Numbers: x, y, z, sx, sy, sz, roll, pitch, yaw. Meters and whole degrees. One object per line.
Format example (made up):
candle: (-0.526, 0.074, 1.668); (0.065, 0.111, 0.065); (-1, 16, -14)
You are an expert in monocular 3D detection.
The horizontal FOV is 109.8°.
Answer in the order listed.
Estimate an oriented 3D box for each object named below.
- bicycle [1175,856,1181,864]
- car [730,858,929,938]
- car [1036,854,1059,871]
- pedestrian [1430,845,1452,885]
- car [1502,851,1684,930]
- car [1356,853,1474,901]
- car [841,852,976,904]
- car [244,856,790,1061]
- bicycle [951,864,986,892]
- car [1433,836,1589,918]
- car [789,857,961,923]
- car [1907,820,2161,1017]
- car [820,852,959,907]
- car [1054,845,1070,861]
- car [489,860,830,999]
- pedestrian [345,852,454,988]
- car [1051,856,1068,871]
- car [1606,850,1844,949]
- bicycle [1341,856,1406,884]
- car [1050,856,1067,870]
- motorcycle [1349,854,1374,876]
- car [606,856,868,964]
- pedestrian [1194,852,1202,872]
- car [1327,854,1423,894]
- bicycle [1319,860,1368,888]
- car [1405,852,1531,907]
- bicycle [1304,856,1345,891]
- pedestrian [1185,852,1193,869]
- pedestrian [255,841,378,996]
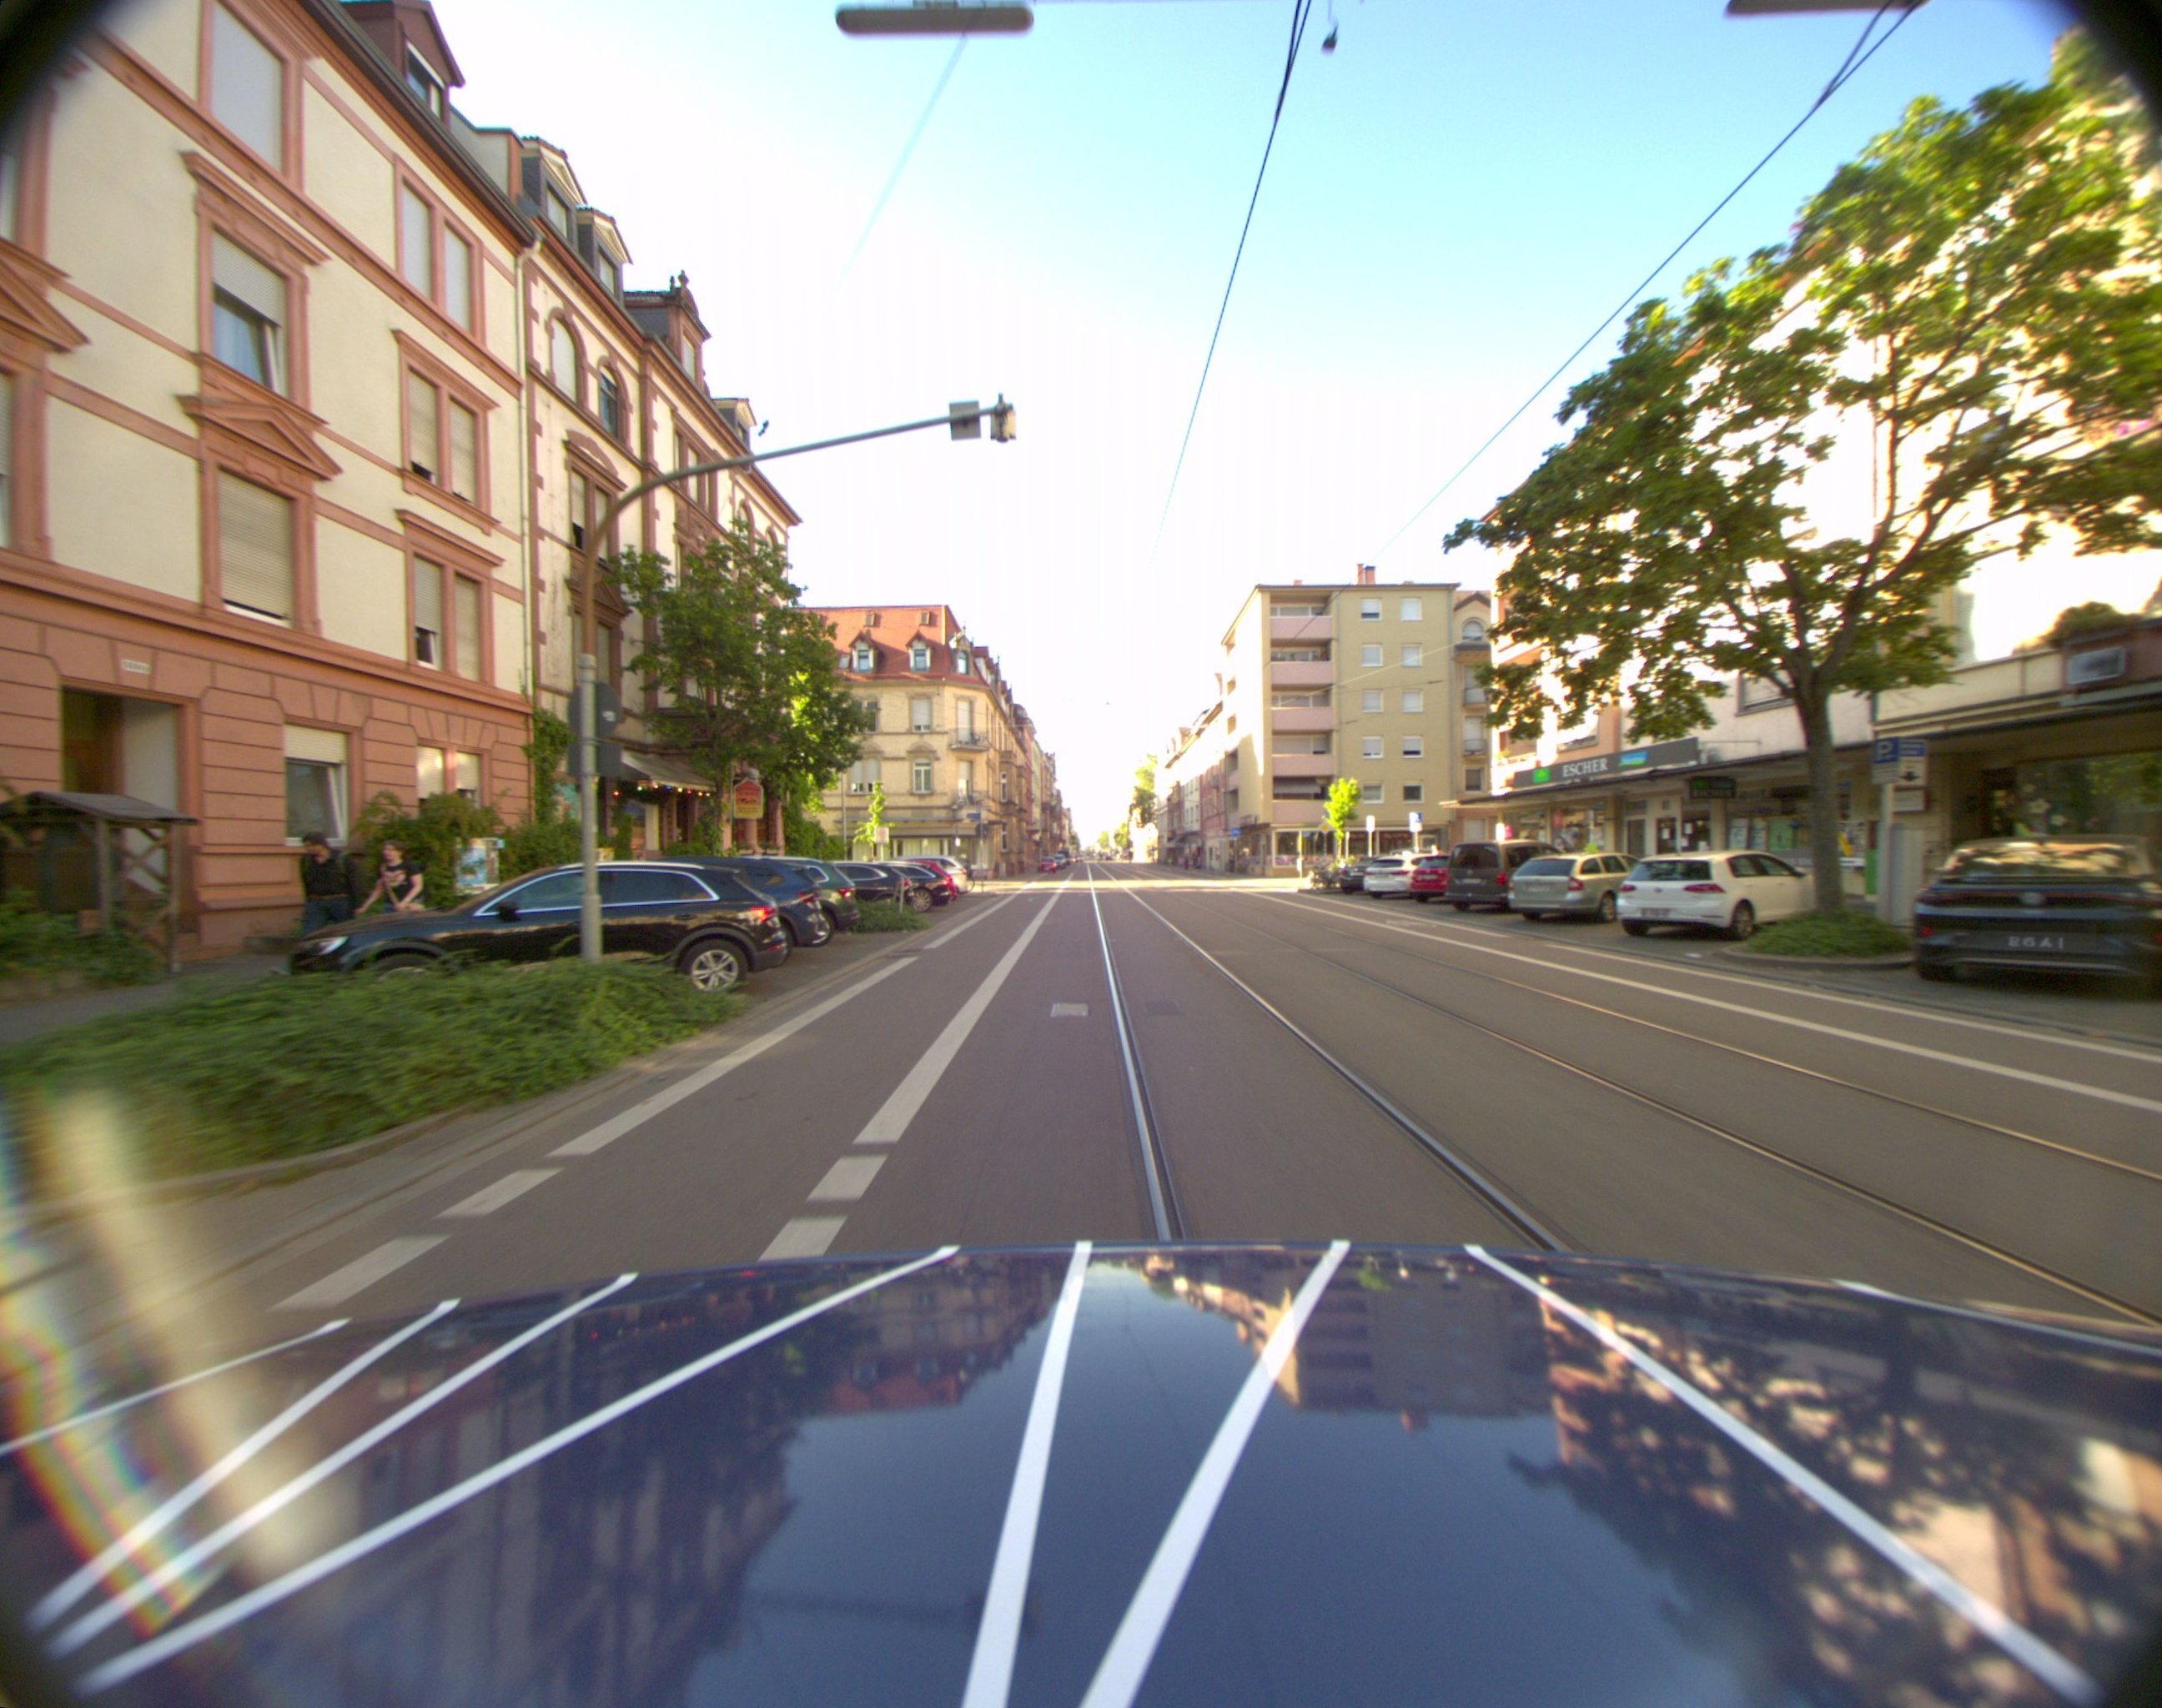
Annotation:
bicycle: (12.166, 0.745, 95.332); (0.425, 1.053, 2.329); (-2, 1, 0)
car: (-6.107, 0.980, 18.492); (4.337, 1.587, 2.041); (-2, 1, -24)
car: (-3.159, 0.761, 72.293); (1.870, 1.474, 4.400); (2, 1, 0)
pedestrian: (14.986, 0.450, 31.638); (0.570, 1.643, 0.641); (-2, 1, 1)
car: (11.325, 0.730, 16.756); (4.025, 1.441, 1.695); (-2, 1, -29)
car: (11.207, 0.727, 25.425); (3.798, 1.392, 1.750); (-2, 1, -32)
car: (-6.117, 0.811, 26.948); (4.370, 1.587, 1.850); (-2, 1, -24)
car: (-5.741, 0.894, 8.415); (4.324, 1.587, 1.977); (-2, 1, -33)
bicycle: (-4.810, 1.017, 32.545); (1.400, 1.120, 0.551); (-2, 1, 1)
car: (11.165, 0.539, 19.708); (3.828, 1.775, 1.793); (-4, 2, -30)
car: (-5.887, 0.950, 21.706); (4.454, 1.587, 2.084); (-2, 1, -24)
car: (11.246, 0.544, 8.693); (4.374, 1.772, 1.991); (-2, 1, -37)
car: (-6.148, 0.767, 24.398); (4.004, 1.528, 1.914); (-2, 1, -24)
car: (-3.047, -0.199, 125.434); (2.128, 2.478, 5.856); (-2, 1, 3)
car: (-5.954, 0.960, 11.271); (4.004, 1.587, 2.083); (-2, 1, -24)
pedestrian: (-8.626, 0.799, 9.653); (0.519, 1.639, 0.863); (-2, 1, 1)
car: (-2.589, 1.073, 89.677); (1.871, 1.637, 4.399); (2, 0, -3)
car: (11.431, 0.712, 13.485); (3.849, 1.421, 1.762); (-2, 1, -25)
bicycle: (12.306, 0.704, 32.052); (2.429, 1.102, 0.685); (-3, -2, 41)
car: (-2.788, 1.105, 95.835); (1.998, 1.606, 4.785); (2, 1, 0)
motorcycle: (16.169, 0.609, 43.808); (0.621, 1.202, 2.176); (-2, 1, 1)
car: (-6.093, 0.898, 13.808); (4.004, 1.587, 1.955); (-2, 1, -24)
pedestrian: (10.156, 0.683, 66.034); (0.564, 1.676, 0.616); (-2, 1, -1)
car: (11.007, 0.709, 28.415); (3.476, 1.330, 1.620); (-2, 1, -33)
bicycle: (10.821, 0.851, 31.380); (0.685, 1.116, 1.883); (-1, -2, -30)
car: (11.520, 0.707, 22.590); (3.476, 1.464, 1.645); (-1, 0, -28)
bicycle: (9.721, 0.797, 30.387); (0.683, 1.311, 2.435); (-2, -2, -3)
pedestrian: (10.225, 0.605, 71.936); (0.637, 1.540, 0.623); (-2, 1, 0)
pedestrian: (-9.174, 0.742, 9.151); (0.519, 1.768, 0.863); (-2, 1, 1)
